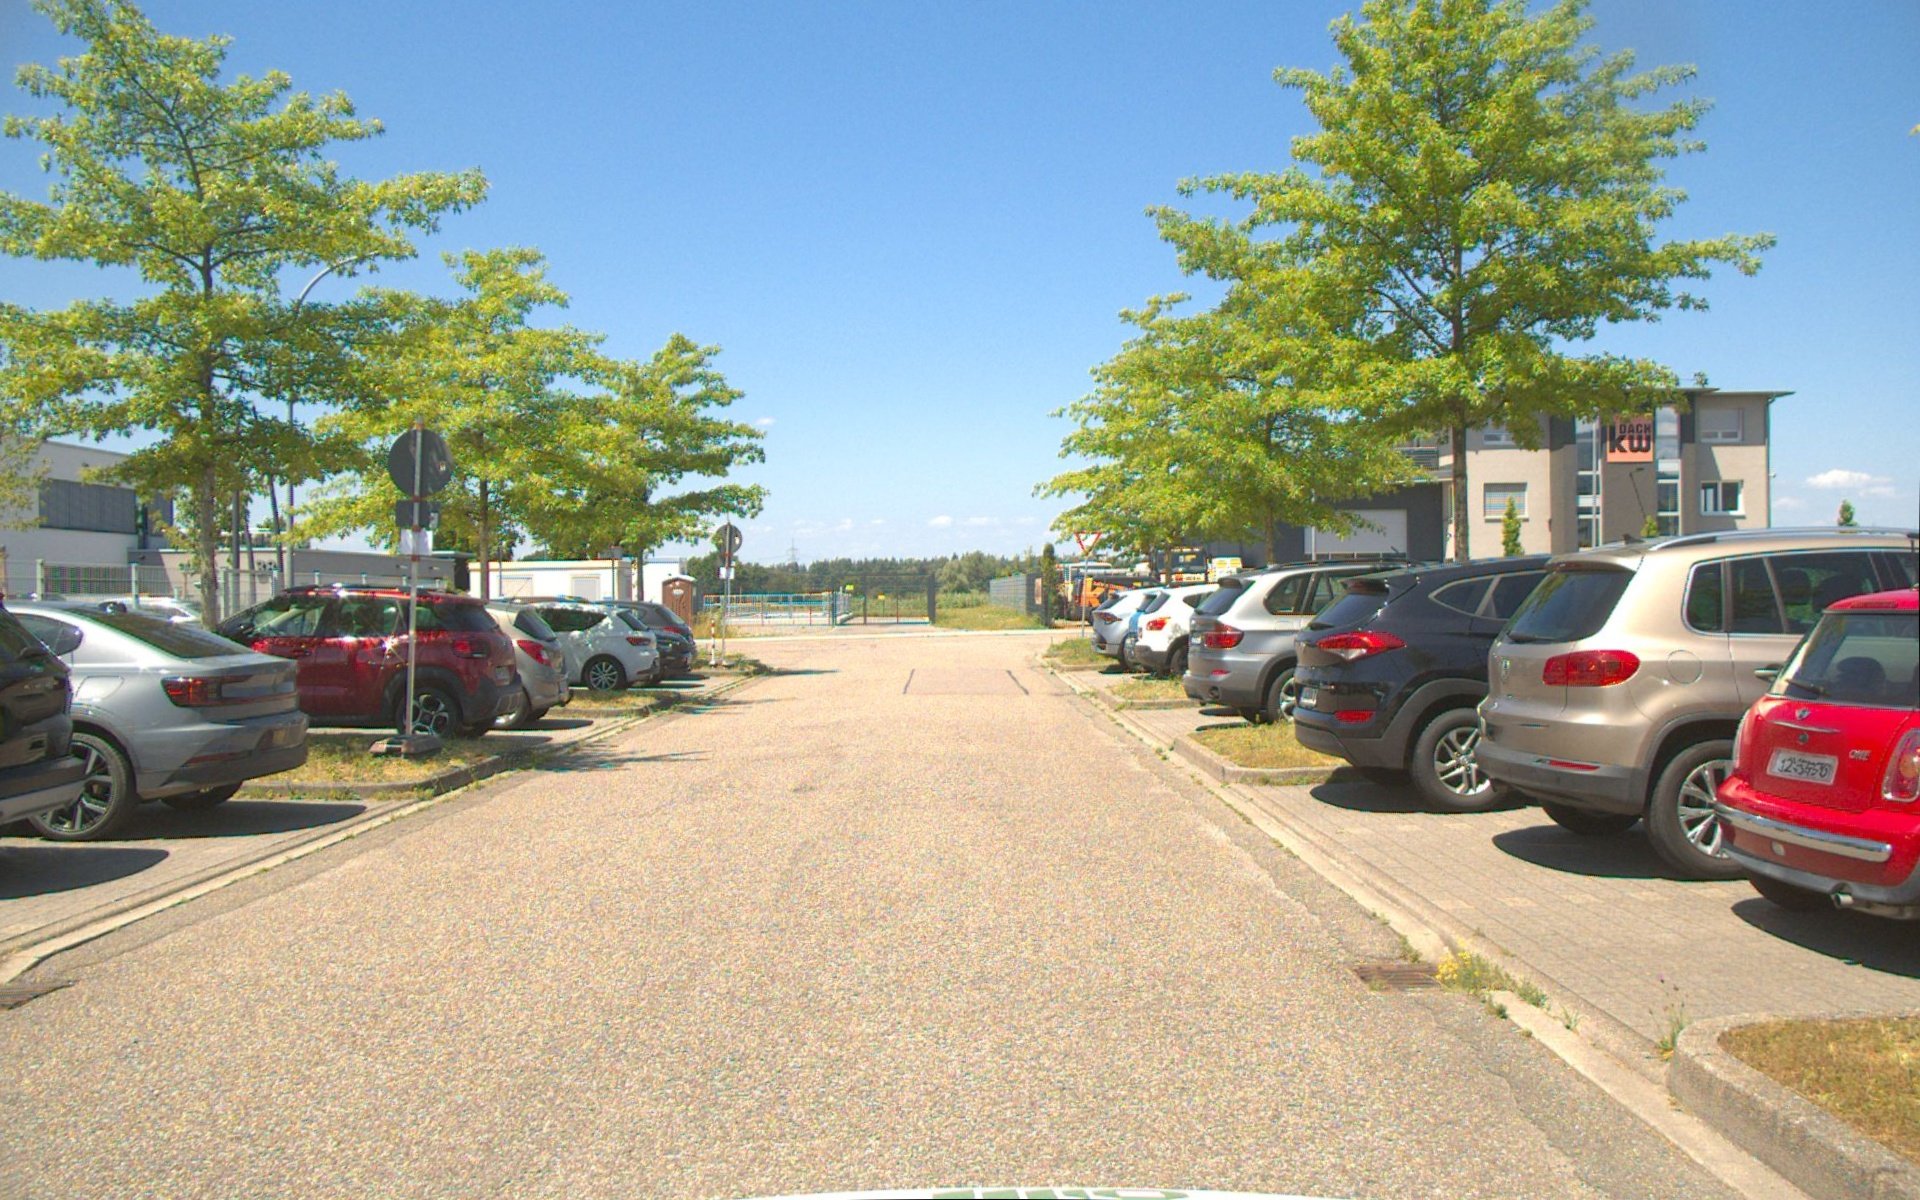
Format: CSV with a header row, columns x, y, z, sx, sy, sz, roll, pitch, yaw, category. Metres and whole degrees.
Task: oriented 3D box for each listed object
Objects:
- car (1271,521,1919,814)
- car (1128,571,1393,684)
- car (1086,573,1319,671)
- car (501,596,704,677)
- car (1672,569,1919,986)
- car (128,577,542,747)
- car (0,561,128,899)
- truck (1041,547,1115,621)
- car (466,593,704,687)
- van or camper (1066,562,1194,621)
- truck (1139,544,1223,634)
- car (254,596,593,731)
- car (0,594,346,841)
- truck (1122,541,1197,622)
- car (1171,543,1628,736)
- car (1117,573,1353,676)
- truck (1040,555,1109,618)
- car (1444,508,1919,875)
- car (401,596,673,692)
x,y,z,sx,sy,sz,roll,pitch,yaw,category
4.442,0.427,11.655,4.089,1.726,1.782,-2,0,-2,car
4.885,0.447,27.277,3.985,1.636,1.901,-2,-1,0,car
4.657,0.408,32.184,4.192,1.673,1.851,-2,0,0,car
-6.832,0.684,31.856,3.553,1.461,1.725,1,0,-3,car
4.991,0.559,6.729,3.387,1.441,1.754,-2,0,-1,car
-6.501,0.617,17.518,3.661,1.650,1.816,1,0,0,car
-6.832,0.613,8.749,3.909,1.708,1.775,1,0,-6,car
5.236,-0.704,74.596,2.671,3.115,6.934,-1,0,-1,truck
-6.609,0.697,29.485,3.849,1.547,1.784,1,0,-3,car
6.713,-0.341,65.685,4.836,2.201,2.000,-1,1,-1,van or camper
10.314,-0.510,77.892,2.862,3.998,6.934,-1,0,-1,truck
-6.428,0.743,20.134,3.584,1.535,1.730,1,0,-4,car
-6.581,0.721,11.277,4.107,1.506,1.712,1,0,0,car
10.310,-0.963,86.059,2.862,3.998,6.934,-1,0,-1,truck
4.653,0.395,17.967,4.360,1.799,1.992,-2,0,-3,car
4.930,0.434,30.038,3.906,1.673,1.838,-2,0,-1,car
5.730,-0.688,83.747,2.862,2.989,6.934,-1,0,-1,truck
4.806,0.396,8.951,3.796,1.707,1.782,-2,0,0,car
-6.815,0.697,27.014,3.995,1.449,1.872,1,0,-4,car
